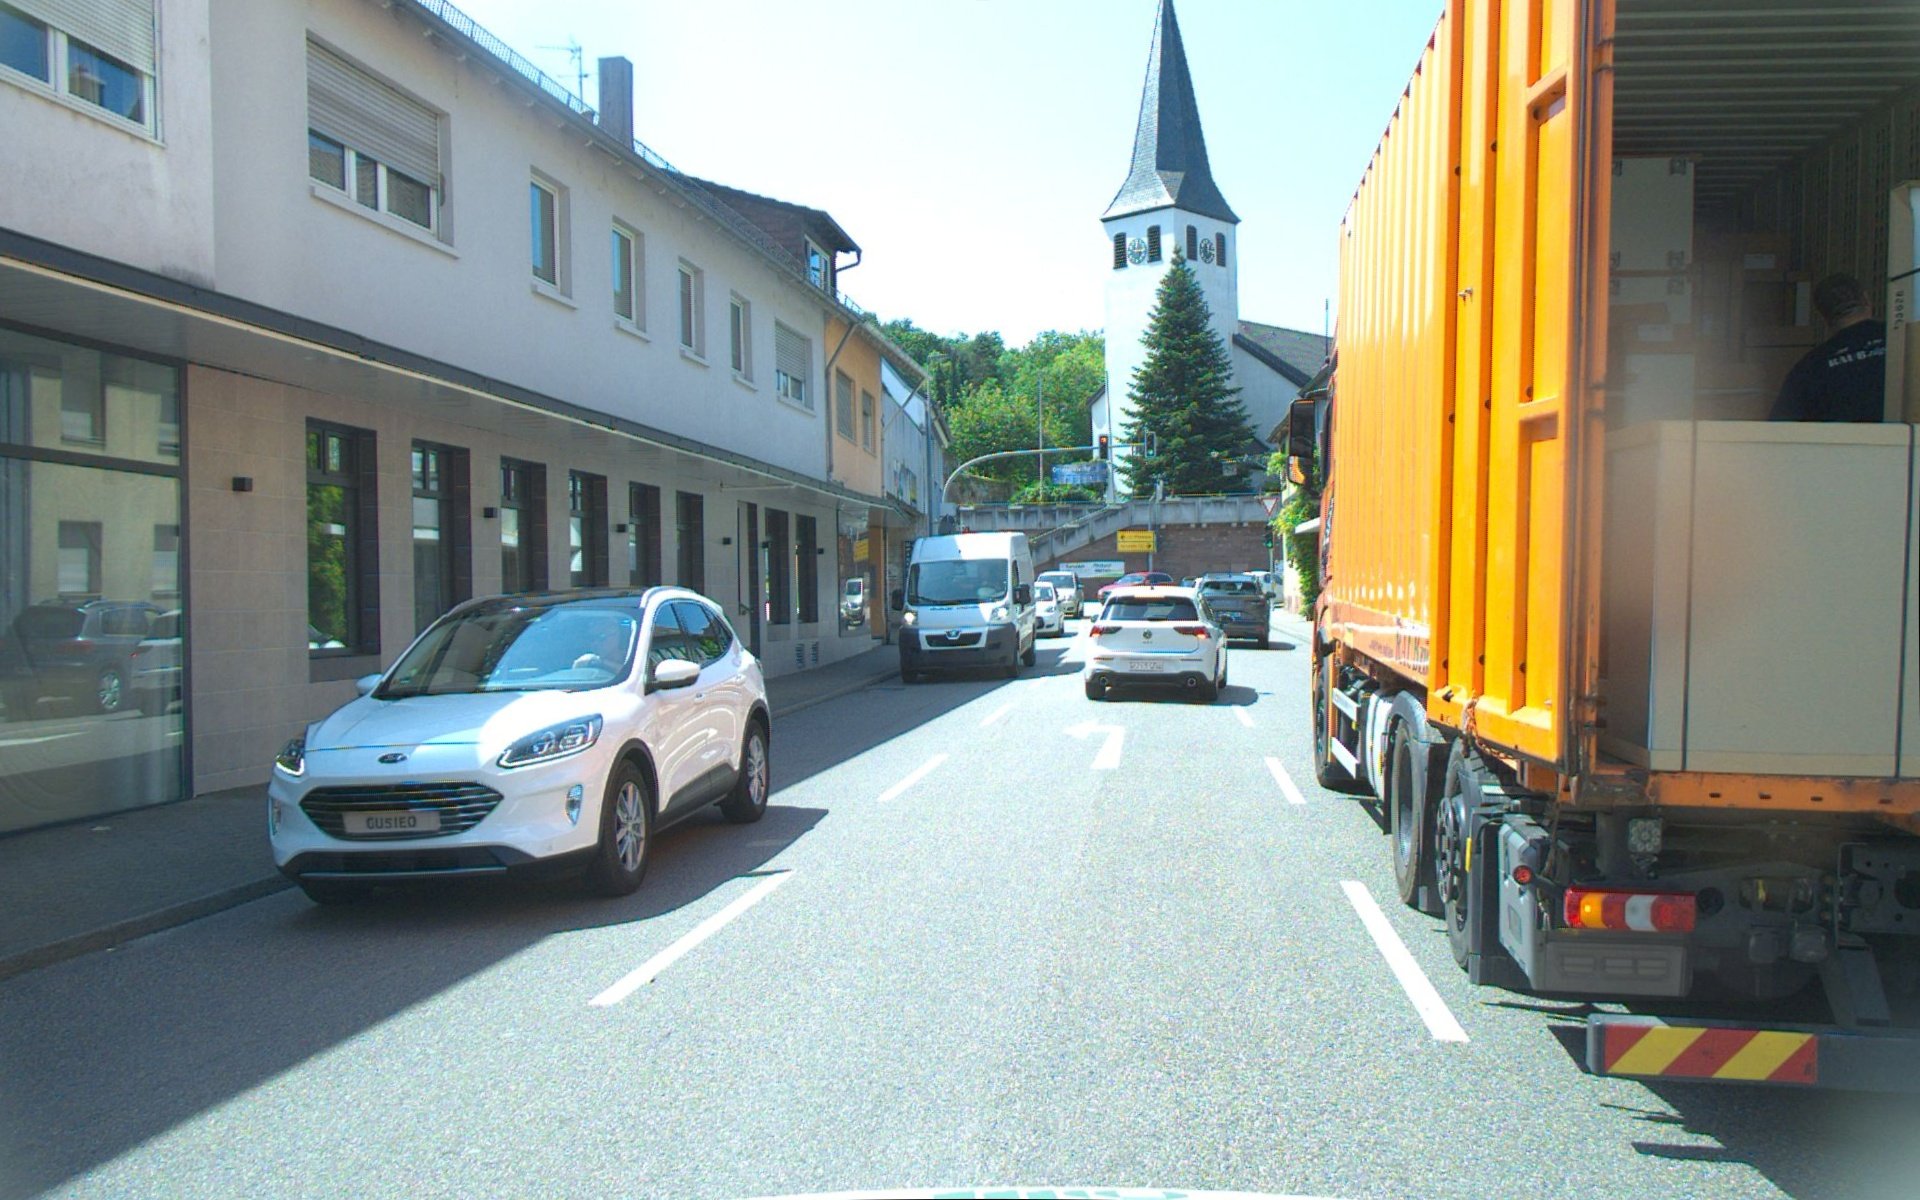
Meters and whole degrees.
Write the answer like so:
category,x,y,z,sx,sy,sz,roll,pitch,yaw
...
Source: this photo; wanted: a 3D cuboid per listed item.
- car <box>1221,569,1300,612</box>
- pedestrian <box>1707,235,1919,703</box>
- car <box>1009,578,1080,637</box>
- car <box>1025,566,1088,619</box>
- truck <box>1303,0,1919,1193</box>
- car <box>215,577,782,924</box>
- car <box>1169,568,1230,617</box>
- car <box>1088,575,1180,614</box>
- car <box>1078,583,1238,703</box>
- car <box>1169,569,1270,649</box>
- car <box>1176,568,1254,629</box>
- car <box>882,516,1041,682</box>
category,x,y,z,sx,sy,sz,roll,pitch,yaw
car,12.684,-0.424,69.699,1.913,1.609,4.318,0,3,30
pedestrian,3.614,-0.499,6.787,0.733,1.787,0.928,1,-1,7
car,2.352,0.190,45.397,1.563,1.480,3.450,-3,0,8
car,3.406,-0.293,57.860,1.643,1.645,3.825,-3,1,11
truck,3.559,-0.565,9.236,2.553,4.014,10.002,1,2,8
car,-2.462,0.743,10.030,1.780,1.582,4.201,-3,-1,7
car,8.811,-0.294,61.093,1.908,1.609,4.329,-1,2,4
car,7.775,-0.266,73.690,4.253,1.433,1.695,-5,2,-44
car,2.786,0.524,22.625,1.744,1.483,3.866,-1,0,13
car,5.930,0.152,38.201,1.908,1.609,4.329,-1,2,4
car,7.501,-0.085,48.934,1.908,1.609,4.329,-1,2,4
car,0.145,-0.042,29.689,2.095,2.613,5.398,-3,0,7
